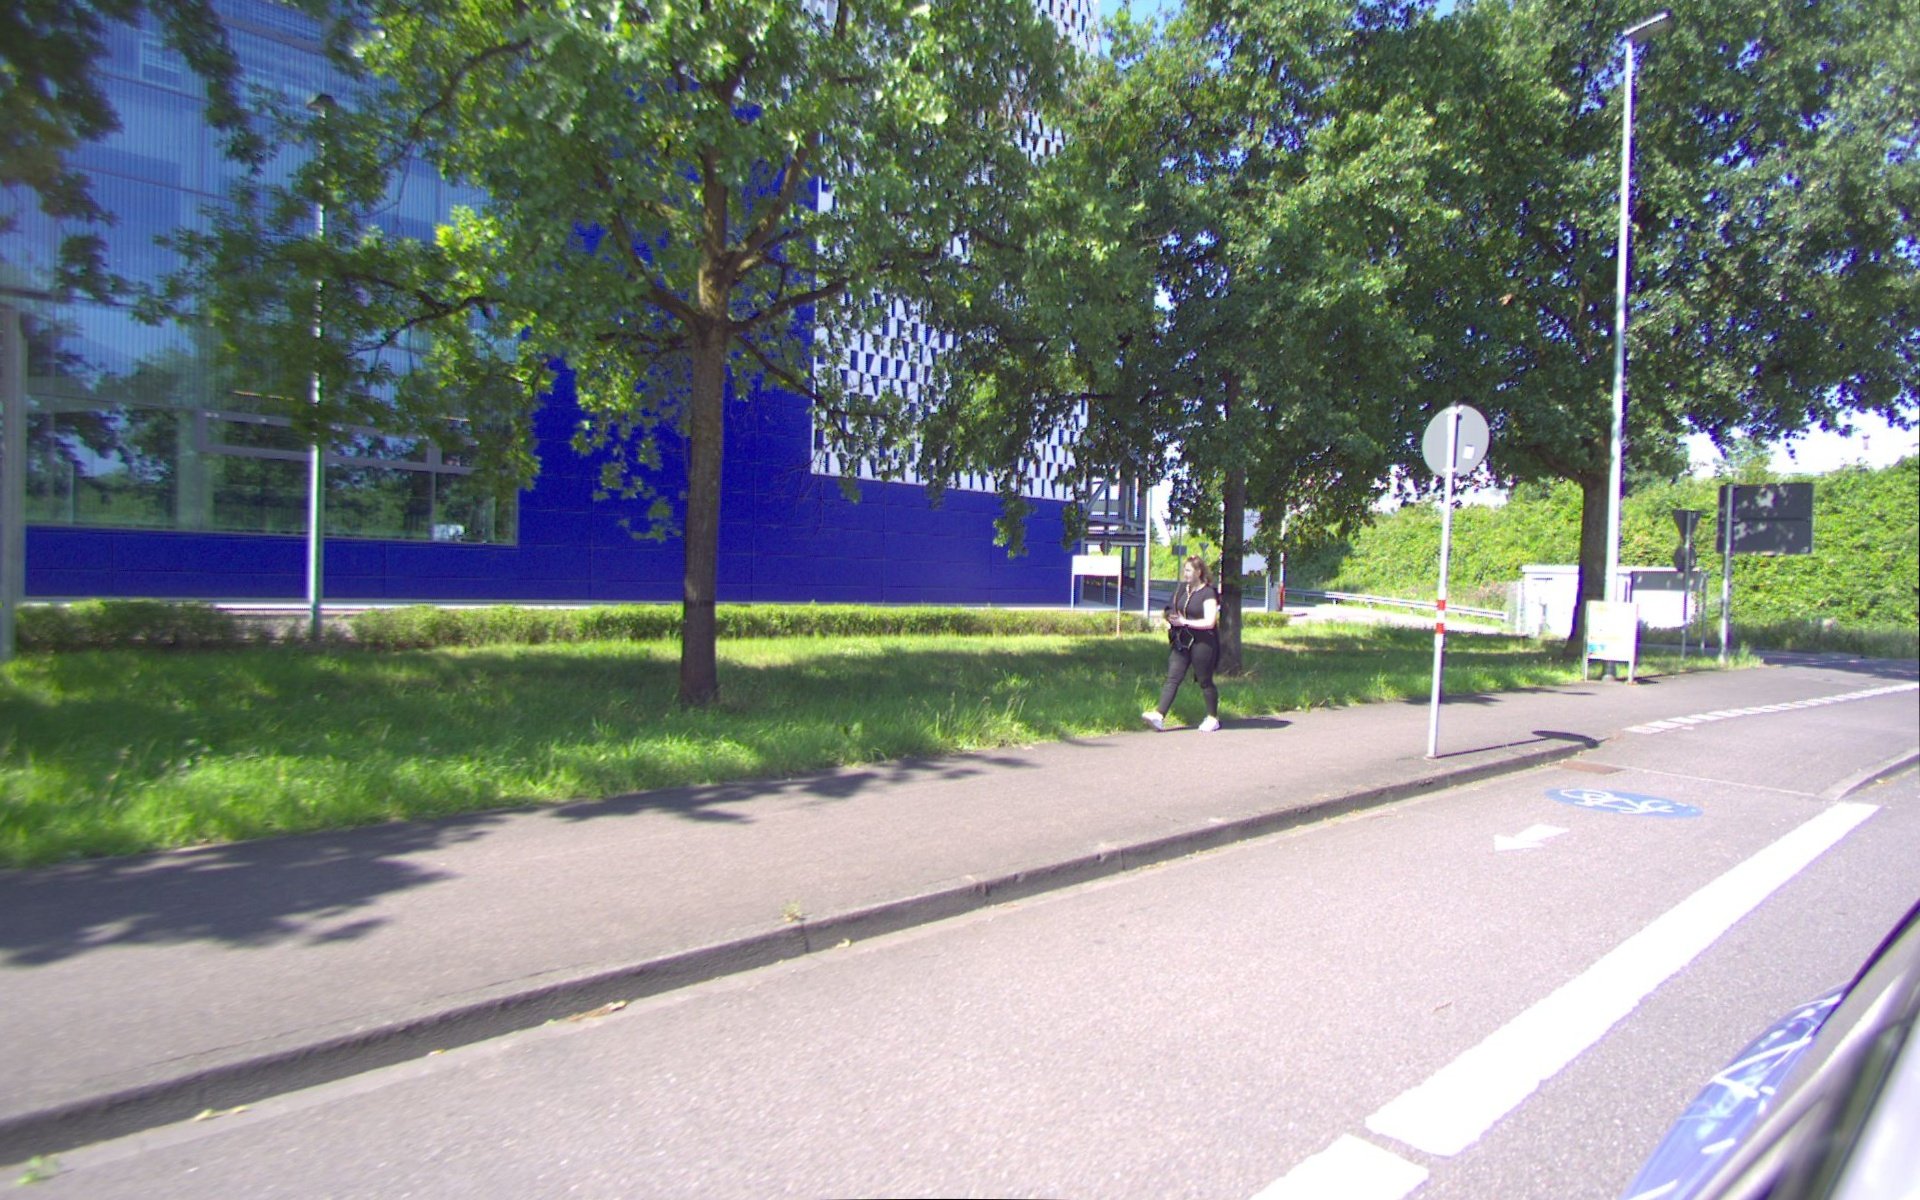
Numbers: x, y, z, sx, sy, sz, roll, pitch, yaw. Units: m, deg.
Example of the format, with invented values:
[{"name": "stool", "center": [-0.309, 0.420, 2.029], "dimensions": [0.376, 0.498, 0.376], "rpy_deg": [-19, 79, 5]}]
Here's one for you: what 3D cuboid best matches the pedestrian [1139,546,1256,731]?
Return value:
[{"name": "pedestrian", "center": [2.199, 0.326, 9.367], "dimensions": [0.831, 1.623, 0.648], "rpy_deg": [1, 1, -39]}]
